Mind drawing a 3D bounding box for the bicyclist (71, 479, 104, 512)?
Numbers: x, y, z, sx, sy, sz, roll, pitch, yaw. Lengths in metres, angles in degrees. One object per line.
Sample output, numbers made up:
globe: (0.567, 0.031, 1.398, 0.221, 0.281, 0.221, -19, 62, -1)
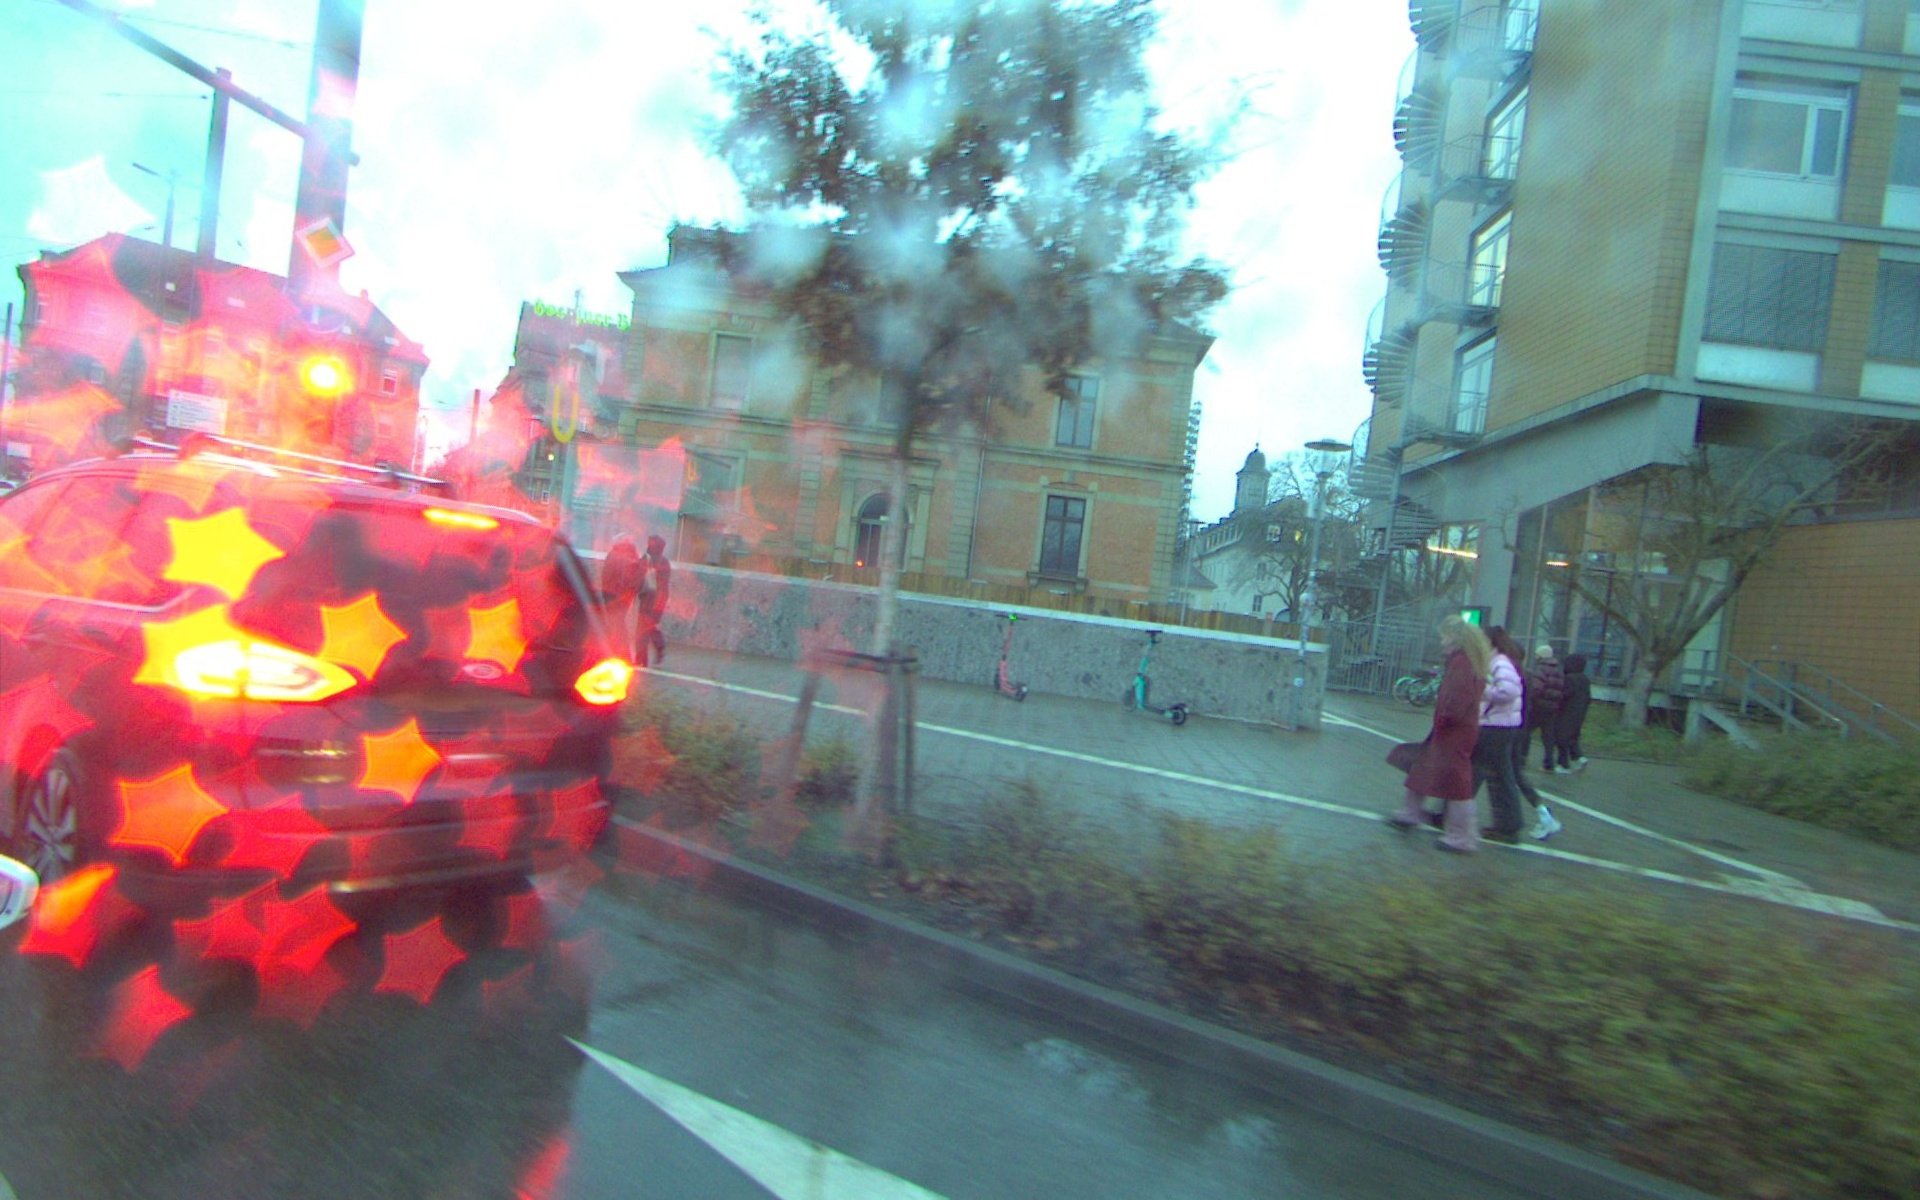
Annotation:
bicyclist: (-54.129, -6.484, 62.419, 1.054, 1.791, 1.047, 6, 1, -11)

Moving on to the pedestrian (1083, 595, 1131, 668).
pedestrian: (3.714, 0.776, 25.472, 0.901, 1.726, 0.801, 6, 1, -1)

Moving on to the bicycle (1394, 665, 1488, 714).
bicycle: (12.680, 2.355, 26.574, 2.021, 1.004, 0.708, 7, 1, 7)

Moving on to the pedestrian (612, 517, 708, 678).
pedestrian: (-4.092, -0.042, 13.703, 0.802, 2.039, 0.753, 8, 2, -34)

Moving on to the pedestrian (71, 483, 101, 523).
pedestrian: (-47.696, -5.269, 54.902, 0.774, 2.039, 0.731, 6, 1, 3)

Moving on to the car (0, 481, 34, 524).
car: (-42.089, -4.376, 42.118, 4.781, 1.678, 1.720, 7, 0, -42)

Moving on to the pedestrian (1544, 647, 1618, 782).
pedestrian: (8.838, 1.615, 14.337, 0.549, 1.814, 0.584, 7, 1, 14)

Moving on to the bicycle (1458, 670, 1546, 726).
bicycle: (13.253, 2.392, 24.628, 1.761, 1.116, 0.442, 7, 1, 7)

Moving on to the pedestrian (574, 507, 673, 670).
pedestrian: (-4.346, -0.152, 12.982, 0.802, 1.954, 0.753, 8, 2, -34)

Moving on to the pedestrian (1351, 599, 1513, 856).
pedestrian: (3.575, 0.932, 7.652, 0.579, 1.805, 0.762, 4, 2, -33)

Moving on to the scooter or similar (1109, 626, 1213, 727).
scooter or similar: (2.794, 1.049, 14.107, 0.509, 1.229, 1.371, 6, 1, -31)

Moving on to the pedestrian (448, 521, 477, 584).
pedestrian: (-16.322, -1.559, 33.005, 0.670, 1.975, 0.657, 6, 1, -28)

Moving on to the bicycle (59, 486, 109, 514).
bicycle: (-54.288, -6.203, 62.363, 2.172, 1.394, 0.696, 7, 1, -13)

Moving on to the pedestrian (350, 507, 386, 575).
pedestrian: (-18.023, -1.781, 30.650, 0.669, 1.975, 0.673, 6, 1, -22)

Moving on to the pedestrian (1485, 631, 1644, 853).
pedestrian: (5.092, 1.169, 8.489, 0.713, 1.709, 0.753, 6, 1, -34)

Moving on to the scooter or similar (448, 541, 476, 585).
scooter or similar: (-16.015, -1.202, 32.343, 0.670, 1.334, 0.821, 6, 1, -28)

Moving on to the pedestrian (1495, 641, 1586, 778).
pedestrian: (8.345, 1.547, 14.503, 0.735, 1.814, 0.854, 7, 1, 14)

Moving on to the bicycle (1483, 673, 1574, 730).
bicycle: (13.517, 2.401, 23.947, 1.761, 1.116, 0.401, 7, 1, 7)

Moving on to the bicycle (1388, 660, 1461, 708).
bicycle: (12.756, 2.308, 27.613, 1.764, 1.116, 0.390, 7, 1, -7)

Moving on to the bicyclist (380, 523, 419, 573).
bicyclist: (-19.115, -1.774, 34.306, 0.682, 1.595, 0.779, 7, 1, 11)

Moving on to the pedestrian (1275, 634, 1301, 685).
pedestrian: (11.165, 2.016, 34.275, 0.651, 1.678, 0.789, 7, 1, 17)

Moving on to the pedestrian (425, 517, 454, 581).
pedestrian: (-16.924, -1.658, 32.688, 0.670, 1.975, 0.657, 6, 1, -29)

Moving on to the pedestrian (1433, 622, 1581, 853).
pedestrian: (4.384, 1.078, 8.077, 0.662, 1.711, 0.606, 4, 4, -33)

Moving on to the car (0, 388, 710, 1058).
car: (-3.426, 0.179, 4.676, 4.353, 1.822, 1.779, 8, 0, 34)

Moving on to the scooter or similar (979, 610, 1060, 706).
scooter or similar: (0.847, 0.824, 14.685, 0.507, 1.229, 1.375, 6, 1, -23)
